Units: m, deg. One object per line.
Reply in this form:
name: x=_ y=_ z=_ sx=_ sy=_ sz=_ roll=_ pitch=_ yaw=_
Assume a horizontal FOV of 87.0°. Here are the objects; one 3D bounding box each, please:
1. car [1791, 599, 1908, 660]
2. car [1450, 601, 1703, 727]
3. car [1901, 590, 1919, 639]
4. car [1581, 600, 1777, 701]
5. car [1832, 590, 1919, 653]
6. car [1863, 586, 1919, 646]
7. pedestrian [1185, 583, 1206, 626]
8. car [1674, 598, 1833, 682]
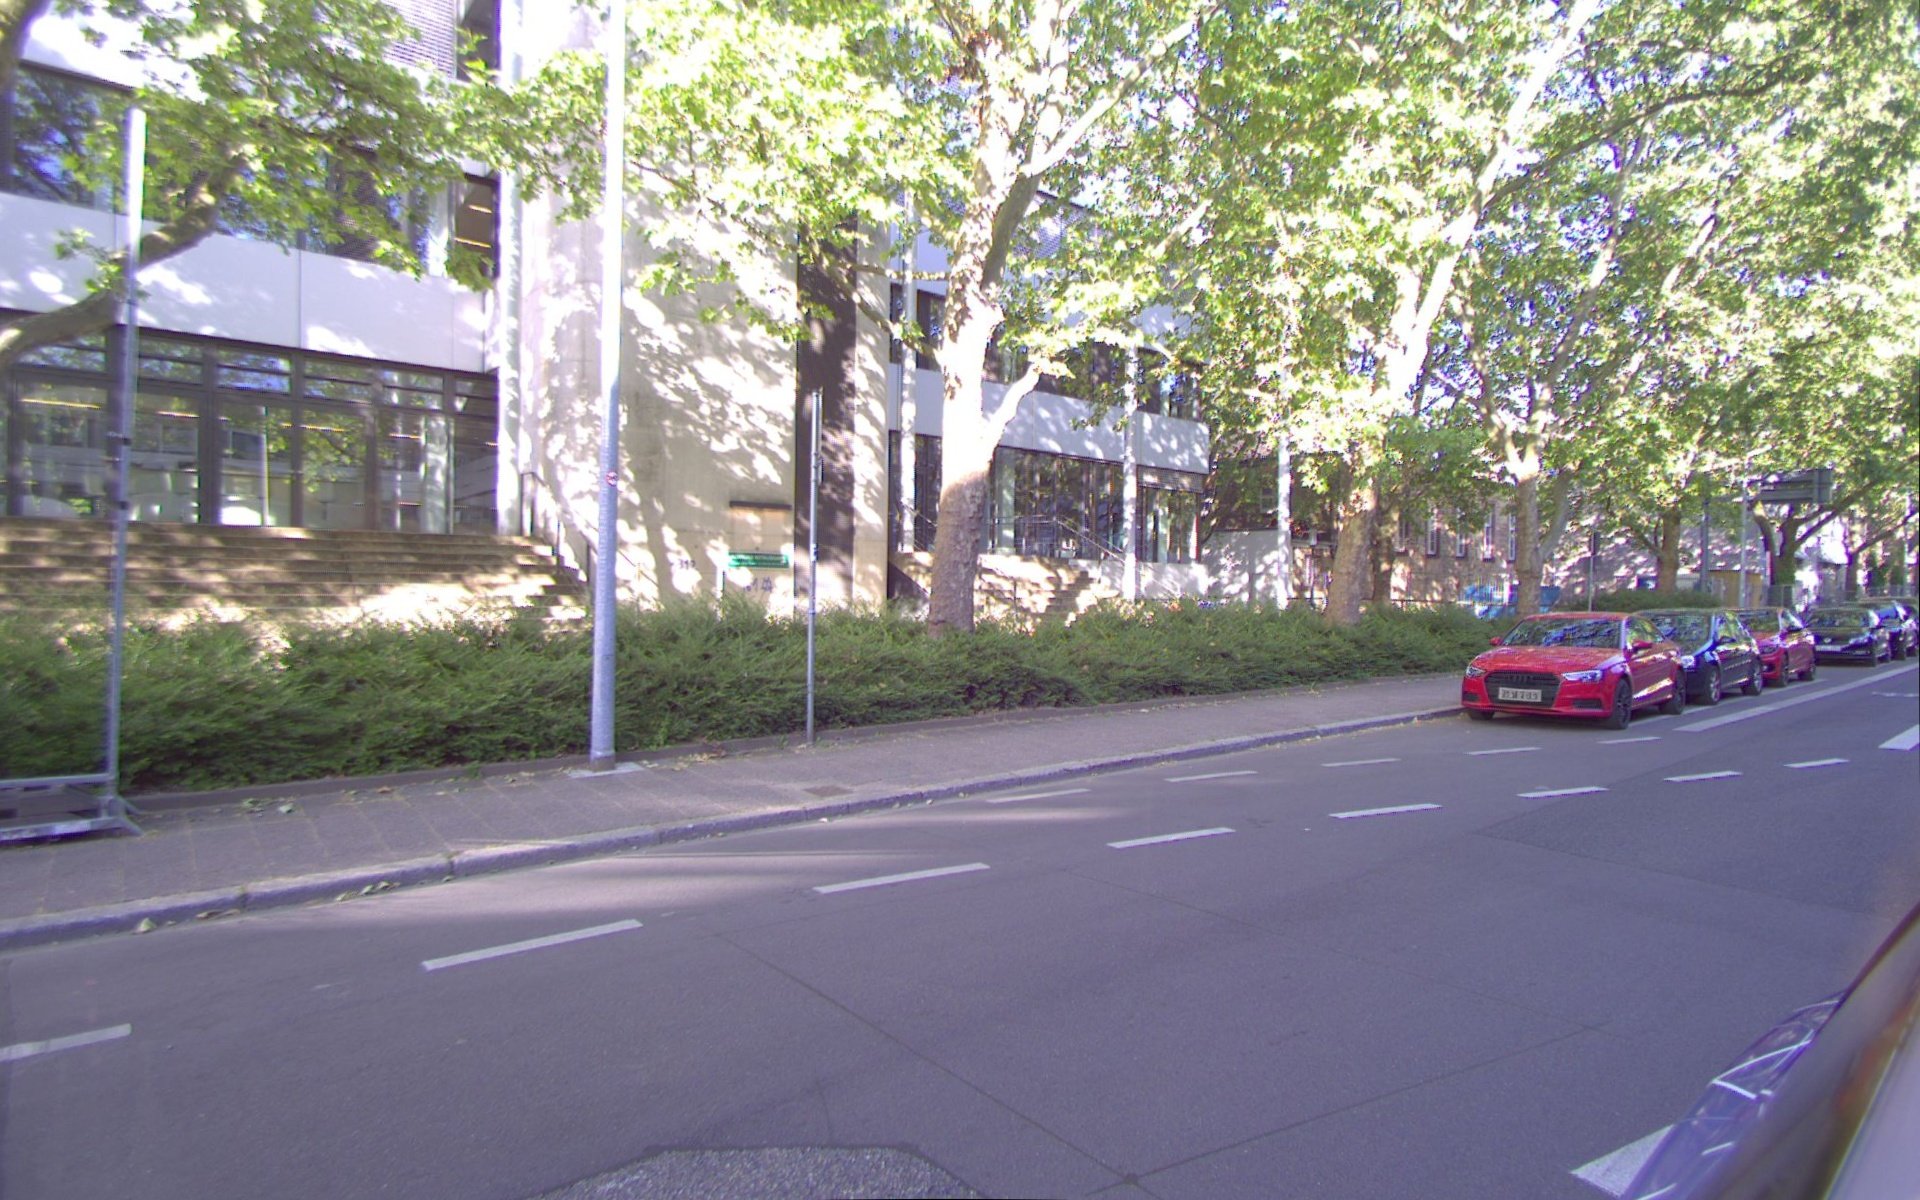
car: x=22.943 y=0.719 z=26.070 sx=3.841 sy=1.451 sz=1.753 roll=0 pitch=-1 yaw=-41
car: x=8.271 y=0.742 z=13.450 sx=3.930 sy=1.427 sz=1.753 roll=0 pitch=-1 yaw=-41
car: x=36.190 y=0.520 z=37.270 sx=4.370 sy=1.750 sz=1.753 roll=0 pitch=-1 yaw=-41
car: x=11.846 y=0.740 z=16.595 sx=3.841 sy=1.451 sz=1.753 roll=0 pitch=-1 yaw=-41
car: x=26.710 y=0.589 z=29.183 sx=4.101 sy=1.674 sz=1.753 roll=0 pitch=-1 yaw=-41
car: x=30.967 y=0.490 z=32.973 sx=4.370 sy=1.843 sz=1.753 roll=0 pitch=-1 yaw=-41
pedestrian: x=9.388 y=0.179 z=40.280 sx=0.649 sy=1.691 sz=0.525 roll=0 pitch=0 yaw=-39
car: x=15.698 y=0.722 z=19.971 sx=3.841 sy=1.486 sz=1.753 roll=0 pitch=-1 yaw=-41
